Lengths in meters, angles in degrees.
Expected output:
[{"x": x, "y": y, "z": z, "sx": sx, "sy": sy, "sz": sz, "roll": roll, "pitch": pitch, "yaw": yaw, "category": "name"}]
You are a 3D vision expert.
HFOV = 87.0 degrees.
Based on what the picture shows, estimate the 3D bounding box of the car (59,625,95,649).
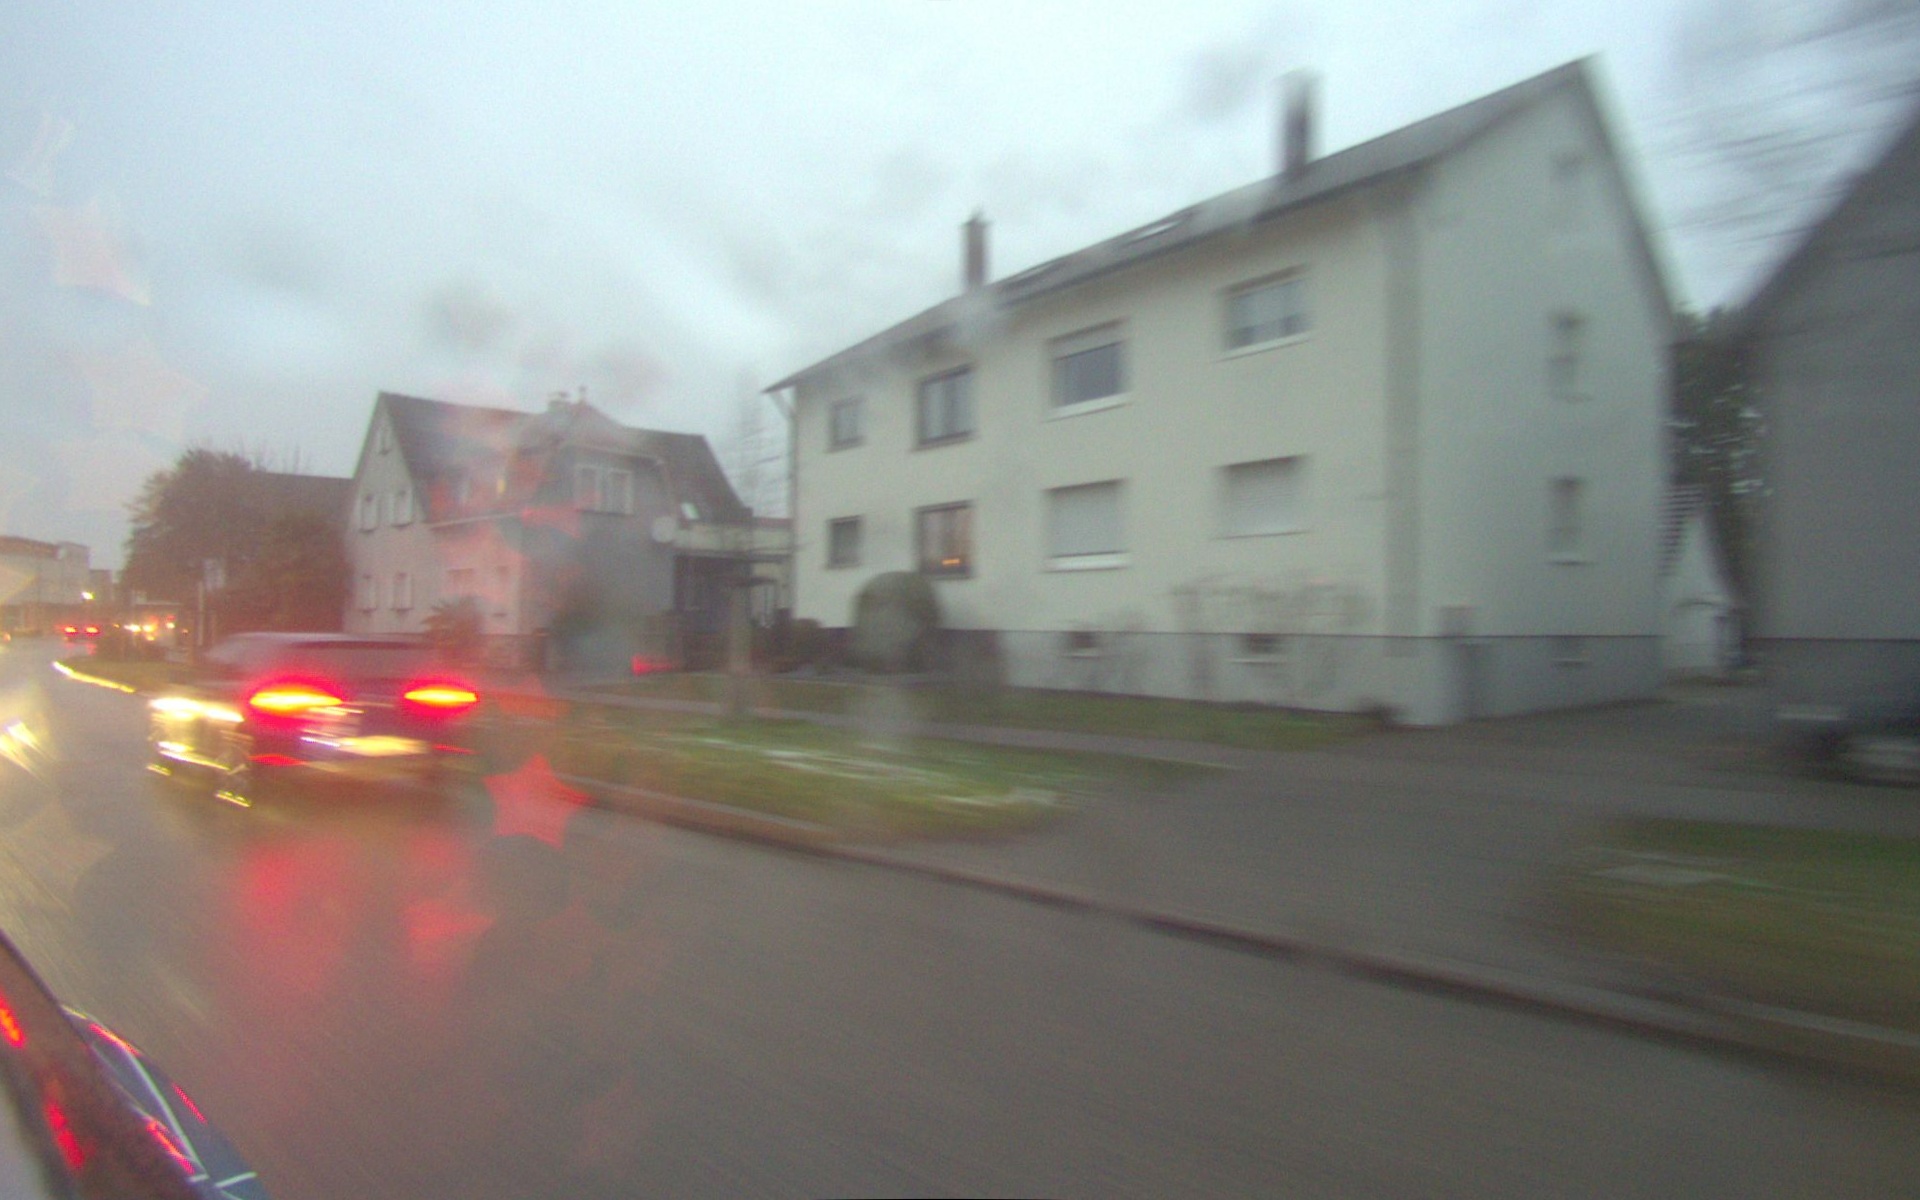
[{"x": -68.232, "y": 2.838, "z": 78.221, "sx": 1.938, "sy": 1.711, "sz": 4.007, "roll": 0, "pitch": 0, "yaw": -39, "category": "car"}]

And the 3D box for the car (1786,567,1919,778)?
[{"x": 9.733, "y": 0.608, "z": 8.207, "sx": 4.568, "sy": 1.769, "sz": 1.971, "roll": -1, "pitch": -2, "yaw": 43, "category": "car"}]

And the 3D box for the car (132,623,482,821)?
[{"x": -6.246, "y": 0.976, "z": 9.501, "sx": 3.998, "sy": 1.452, "sz": 1.686, "roll": -1, "pitch": -3, "yaw": 41, "category": "car"}]
